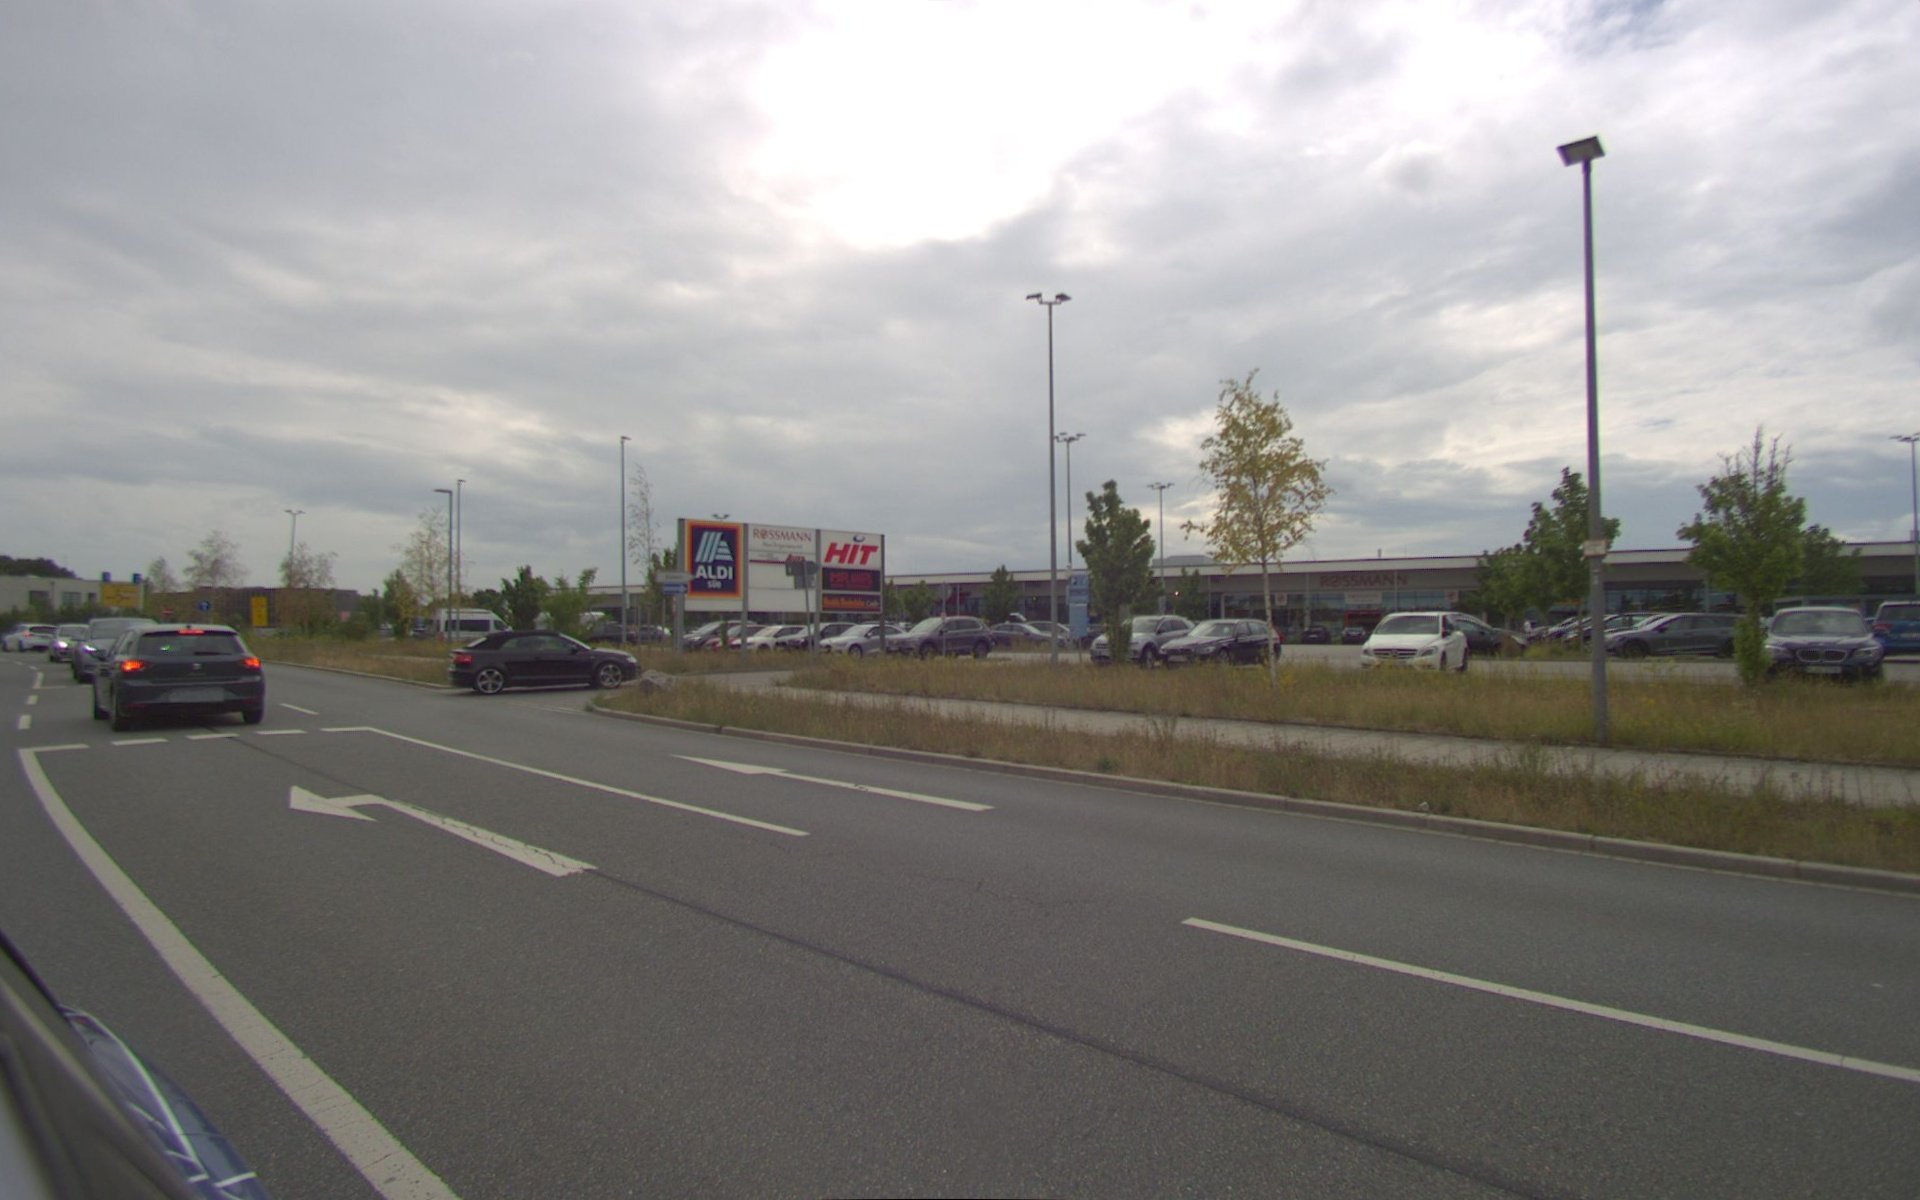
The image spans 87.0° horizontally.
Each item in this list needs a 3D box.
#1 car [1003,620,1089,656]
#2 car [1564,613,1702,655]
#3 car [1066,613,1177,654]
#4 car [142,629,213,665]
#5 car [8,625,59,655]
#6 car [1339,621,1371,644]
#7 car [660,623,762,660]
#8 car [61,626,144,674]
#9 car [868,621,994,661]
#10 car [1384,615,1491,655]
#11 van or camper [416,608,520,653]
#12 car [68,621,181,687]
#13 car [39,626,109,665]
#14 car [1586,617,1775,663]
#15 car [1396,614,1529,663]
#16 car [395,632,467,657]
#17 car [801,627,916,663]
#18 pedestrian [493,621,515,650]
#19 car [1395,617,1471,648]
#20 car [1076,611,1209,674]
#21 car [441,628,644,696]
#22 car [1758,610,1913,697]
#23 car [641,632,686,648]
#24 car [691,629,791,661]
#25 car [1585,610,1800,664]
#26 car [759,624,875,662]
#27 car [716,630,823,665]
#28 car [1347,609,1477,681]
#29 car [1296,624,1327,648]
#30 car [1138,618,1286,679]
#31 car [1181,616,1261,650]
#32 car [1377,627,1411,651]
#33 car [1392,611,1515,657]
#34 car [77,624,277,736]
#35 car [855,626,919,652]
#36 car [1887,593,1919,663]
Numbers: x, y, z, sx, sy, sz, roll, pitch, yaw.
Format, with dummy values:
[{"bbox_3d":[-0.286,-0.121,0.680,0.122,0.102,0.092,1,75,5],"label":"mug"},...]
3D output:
[{"bbox_3d":[4.732,2.107,55.622,4.412,1.937,1.827,-1,-2,19],"label":"car"},{"bbox_3d":[26.981,1.395,40.780,4.366,1.619,1.981,-2,-3,28],"label":"car"},{"bbox_3d":[7.260,1.511,45.576,4.559,1.760,1.983,-1,-2,26],"label":"car"},{"bbox_3d":[-33.138,1.979,42.805,1.815,1.428,4.502,3,-4,-44],"label":"car"},{"bbox_3d":[-53.754,2.334,58.662,1.970,1.649,4.706,4,-4,-44],"label":"car"},{"bbox_3d":[27.794,2.303,71.296,1.986,1.619,3.972,-1,-2,21],"label":"car"},{"bbox_3d":[-11.798,1.961,48.148,2.081,1.667,4.252,-3,-3,44],"label":"car"},{"bbox_3d":[-28.540,1.618,33.646,1.858,1.480,4.197,2,-2,-43],"label":"car"},{"bbox_3d":[-1.020,1.500,37.274,4.305,1.402,2.168,2,-3,-43],"label":"car"},{"bbox_3d":[20.072,1.486,42.722,3.975,1.619,1.984,-1,-2,24],"label":"car"},{"bbox_3d":[-32.366,2.019,66.744,2.239,2.821,5.798,-1,-2,37],"label":"van or camper"},{"bbox_3d":[-21.900,1.374,26.464,1.970,1.573,4.617,2,-3,-43],"label":"car"},{"bbox_3d":[-34.819,1.785,39.747,4.033,1.449,1.683,-2,-3,43],"label":"car"},{"bbox_3d":[26.151,1.472,36.983,5.240,1.619,1.984,-1,-3,24],"label":"car"},{"bbox_3d":[17.369,1.348,35.208,3.975,1.619,1.984,-1,-3,24],"label":"car"},{"bbox_3d":[-36.247,3.039,69.402,2.082,1.646,3.905,-2,-3,38],"label":"car"},{"bbox_3d":[-3.961,1.751,39.976,2.027,1.350,4.266,-2,-3,43],"label":"car"},{"bbox_3d":[-30.050,2.347,66.710,1.114,1.904,0.996,-3,-3,43],"label":"pedestrian"},{"bbox_3d":[27.867,1.922,59.750,3.975,1.746,1.984,-1,-3,24],"label":"car"},{"bbox_3d":[5.505,1.223,30.191,2.028,1.736,4.197,-2,-2,41],"label":"car"},{"bbox_3d":[-9.645,1.381,23.421,4.158,1.449,1.780,1,-2,-28],"label":"car"},{"bbox_3d":[16.467,0.975,19.163,1.996,1.446,4.189,-2,-3,40],"label":"car"},{"bbox_3d":[-28.413,3.841,96.996,3.987,1.453,1.978,-2,-3,32],"label":"car"},{"bbox_3d":[-9.988,2.056,46.339,4.035,1.402,2.002,2,-3,-43],"label":"car"},{"bbox_3d":[23.330,1.213,32.531,5.240,1.619,1.984,-1,-3,24],"label":"car"},{"bbox_3d":[-5.910,1.769,42.200,4.314,1.517,2.241,2,-3,-44],"label":"car"},{"bbox_3d":[-8.332,2.054,44.485,2.011,1.468,4.269,-3,-3,45],"label":"car"},{"bbox_3d":[10.954,1.061,24.384,1.985,1.571,4.208,-2,-3,36],"label":"car"},{"bbox_3d":[25.253,2.600,72.548,1.986,1.619,3.972,-1,-2,21],"label":"car"},{"bbox_3d":[7.002,1.278,27.900,4.192,1.525,2.048,1,-2,-44],"label":"car"},{"bbox_3d":[14.502,1.822,56.277,3.984,1.830,1.643,-1,-2,30],"label":"car"},{"bbox_3d":[30.251,2.700,70.640,1.986,1.619,3.972,-1,-2,21],"label":"car"},{"bbox_3d":[18.223,1.278,37.598,3.975,1.619,1.839,-1,-3,24],"label":"car"},{"bbox_3d":[-11.748,1.087,15.075,4.247,1.431,1.808,-2,-2,45],"label":"car"},{"bbox_3d":[-5.433,2.933,75.702,4.281,1.888,2.225,-1,-3,25],"label":"car"},{"bbox_3d":[26.348,0.757,27.267,1.978,1.785,3.943,-2,-3,43],"label":"car"}]
